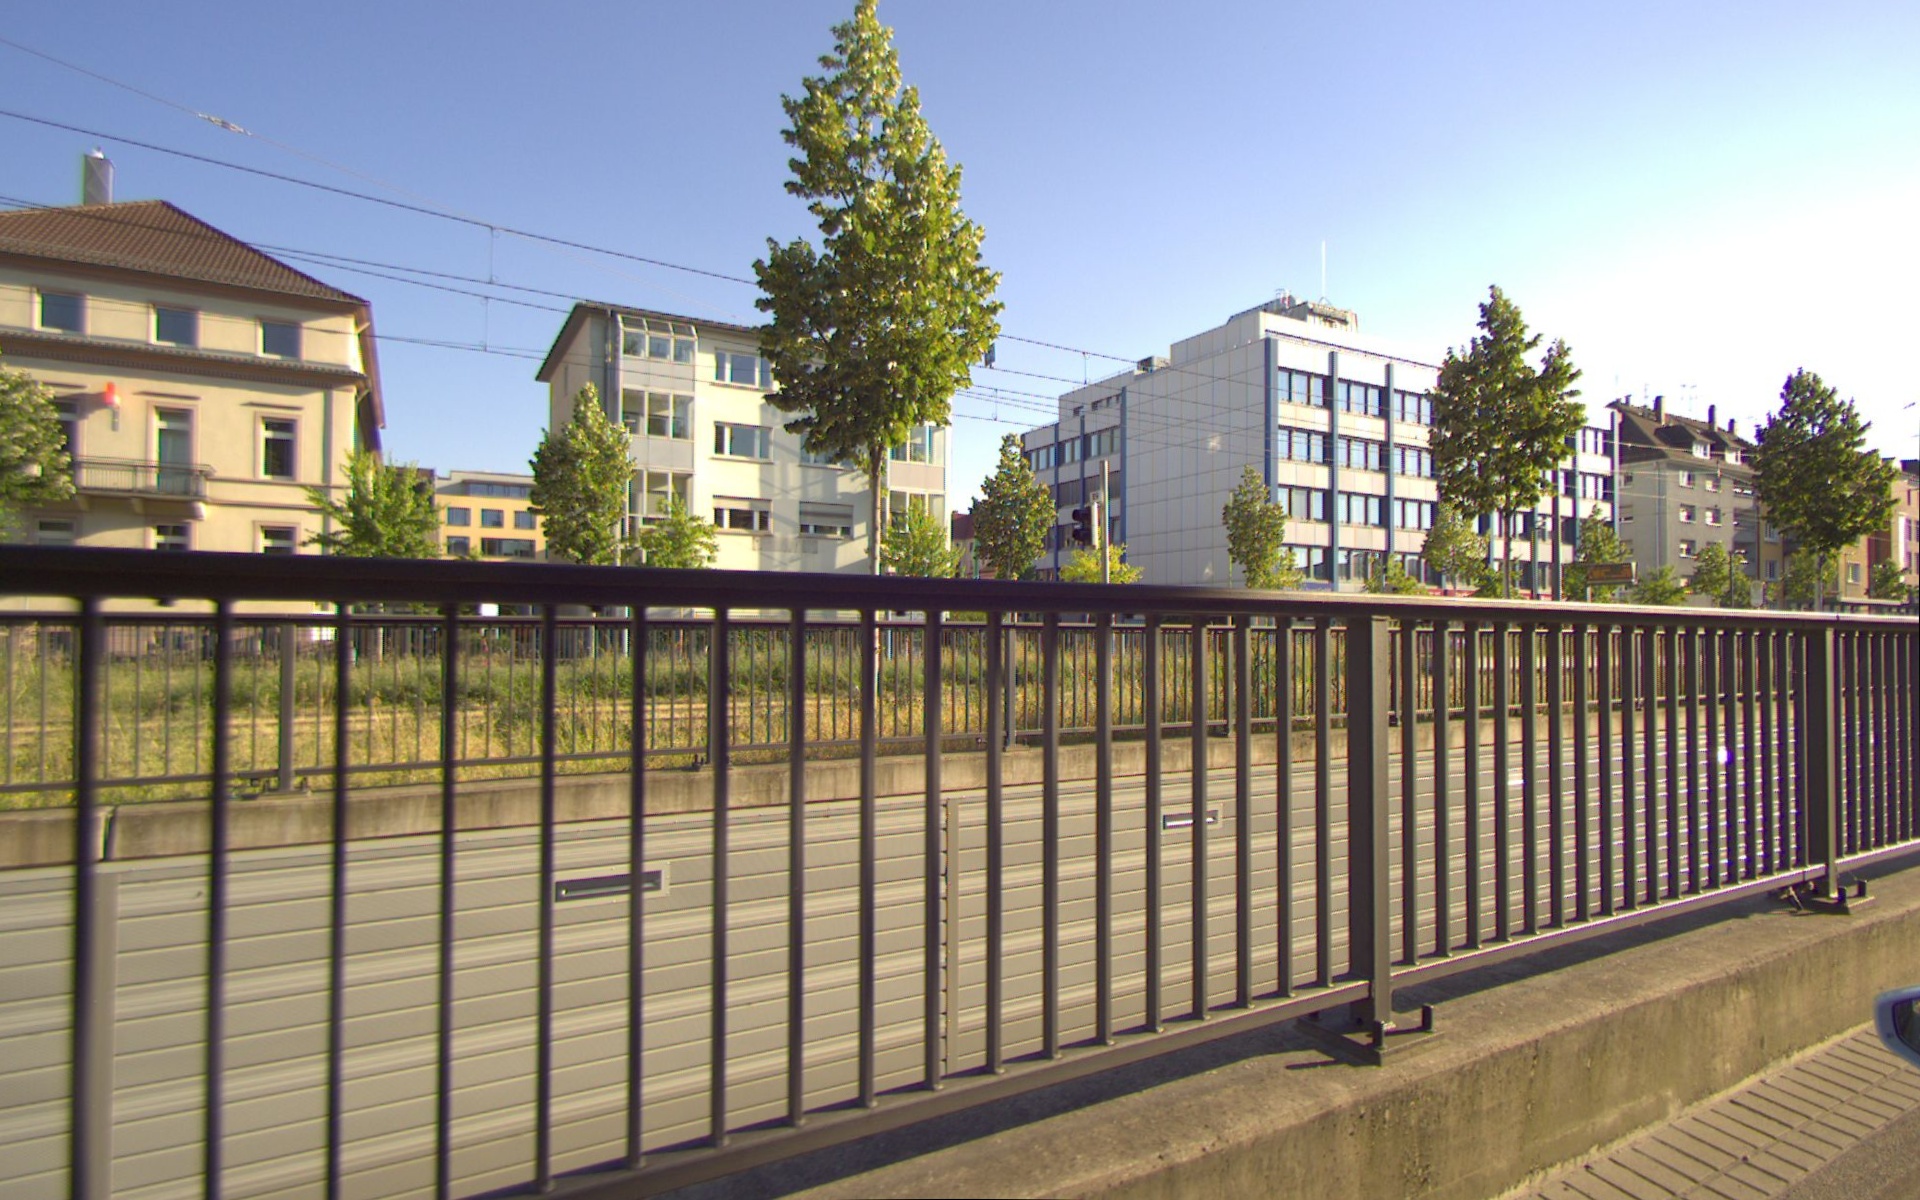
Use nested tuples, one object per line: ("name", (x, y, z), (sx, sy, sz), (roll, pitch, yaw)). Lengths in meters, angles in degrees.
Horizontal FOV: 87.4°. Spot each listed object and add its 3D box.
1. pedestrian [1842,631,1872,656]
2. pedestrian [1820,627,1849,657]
("pedestrian", (44.282, 2.156, 49.582), (0.755, 1.213, 0.929), (1, -2, -30))
("pedestrian", (42.079, 2.029, 48.318), (0.794, 1.429, 0.834), (1, -2, -30))
